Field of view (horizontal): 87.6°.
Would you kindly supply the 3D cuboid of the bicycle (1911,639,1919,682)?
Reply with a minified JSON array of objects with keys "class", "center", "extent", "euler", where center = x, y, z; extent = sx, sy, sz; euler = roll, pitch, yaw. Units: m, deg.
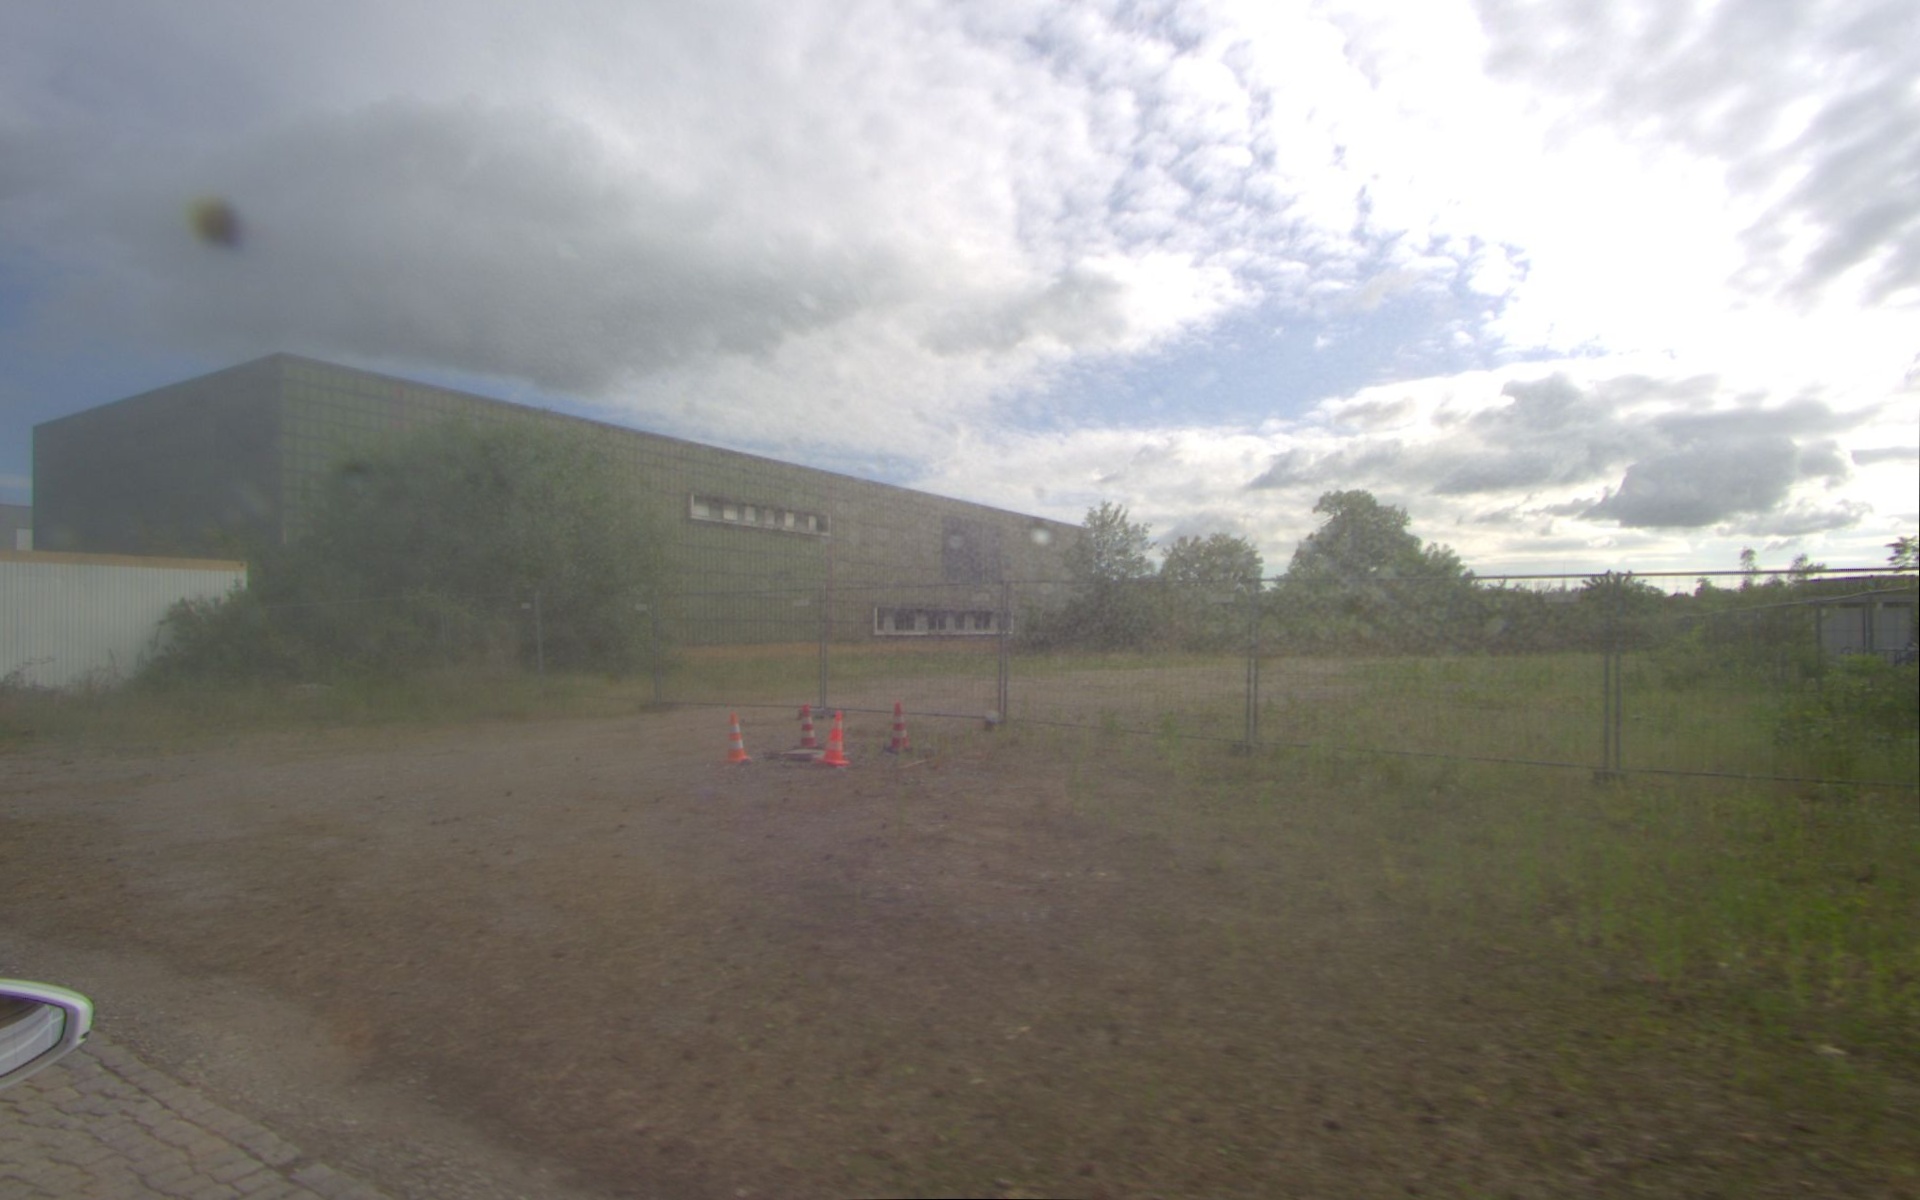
[{"class":"bicycle","center":[25.106,1.532,25.225],"extent":[1.638,1.099,0.508],"euler":[-1,-2,41]}]

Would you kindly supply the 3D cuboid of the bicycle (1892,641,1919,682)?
[{"class":"bicycle","center":[26.359,1.674,27.106],"extent":[1.638,1.099,0.508],"euler":[-1,-2,41]}]
